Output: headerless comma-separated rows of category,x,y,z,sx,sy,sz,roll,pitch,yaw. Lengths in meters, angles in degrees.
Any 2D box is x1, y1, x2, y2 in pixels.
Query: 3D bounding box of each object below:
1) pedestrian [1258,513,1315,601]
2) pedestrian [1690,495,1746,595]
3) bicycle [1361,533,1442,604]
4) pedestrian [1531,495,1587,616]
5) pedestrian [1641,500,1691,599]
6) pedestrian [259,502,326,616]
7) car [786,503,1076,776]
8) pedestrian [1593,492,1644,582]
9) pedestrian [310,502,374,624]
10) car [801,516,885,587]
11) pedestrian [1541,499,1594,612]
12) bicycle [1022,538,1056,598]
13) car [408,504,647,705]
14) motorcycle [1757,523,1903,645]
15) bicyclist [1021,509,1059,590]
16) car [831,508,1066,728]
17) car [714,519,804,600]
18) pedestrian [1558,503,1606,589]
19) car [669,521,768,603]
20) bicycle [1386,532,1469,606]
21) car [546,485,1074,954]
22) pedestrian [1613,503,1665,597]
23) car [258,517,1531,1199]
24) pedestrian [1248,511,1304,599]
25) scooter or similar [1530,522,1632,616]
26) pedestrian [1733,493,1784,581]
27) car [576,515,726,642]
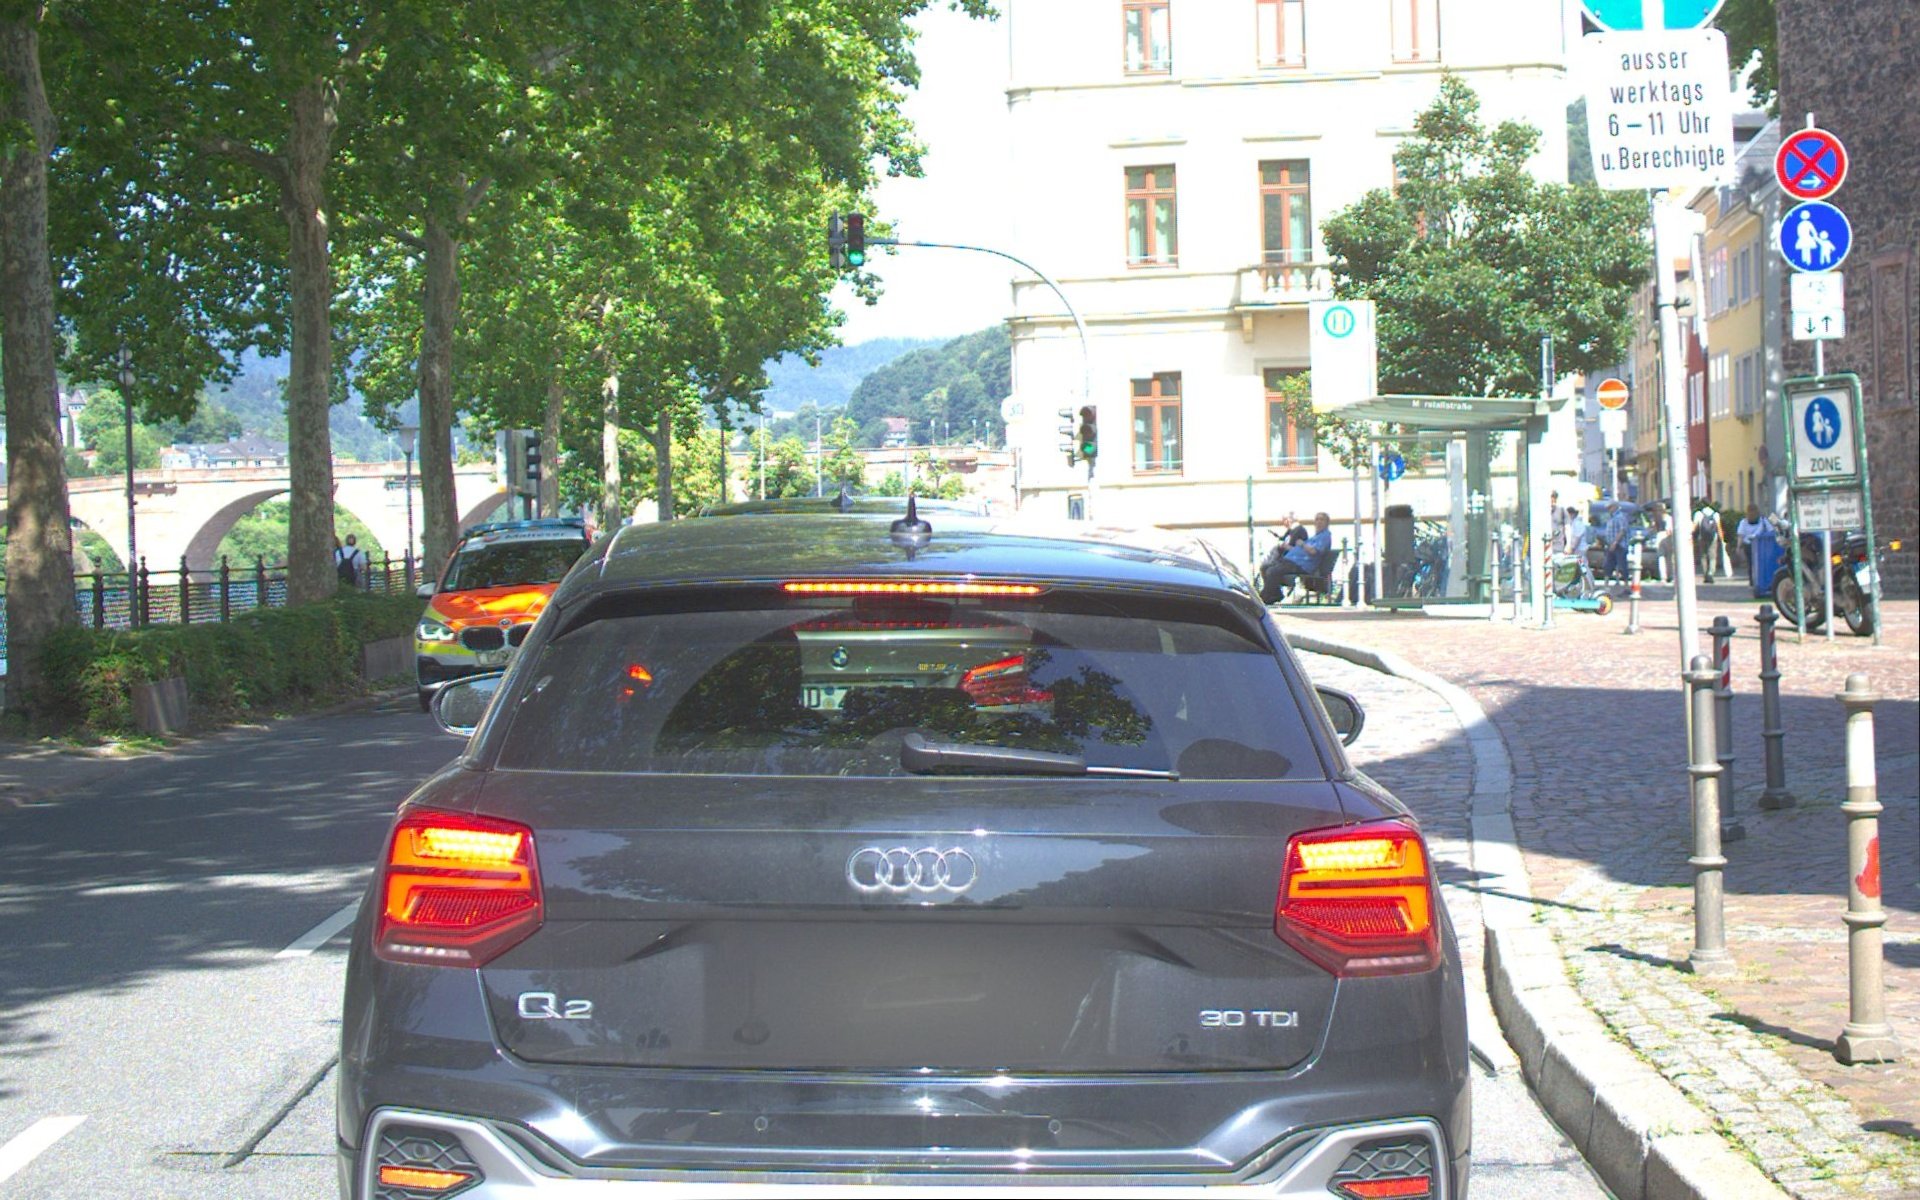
pedestrian,4.568,-0.601,48.111,0.663,1.207,0.641,1,0,-6
pedestrian,15.493,-1.119,70.304,0.940,2.007,0.807,1,0,0
bicycle,6.371,-0.451,49.559,1.184,1.012,0.179,1,0,-19
pedestrian,9.435,-0.698,54.129,0.747,1.884,0.752,1,0,2
pedestrian,14.430,-1.032,70.286,0.839,2.007,0.738,1,0,0
pedestrian,-10.654,-0.656,54.909,0.911,1.805,0.586,1,0,4
car,-0.191,0.193,22.129,1.710,1.603,3.655,0,1,-1
pedestrian,12.000,-1.151,62.686,0.776,1.616,0.645,-2,1,2
pedestrian,-10.286,-0.619,57.256,0.911,2.007,0.585,1,0,4
car,-3.068,-1.277,90.509,1.993,1.800,4.000,1,0,1
pedestrian,7.535,-0.548,42.650,0.557,1.380,0.588,1,0,2
bicycle,1.436,-0.581,62.502,0.437,1.082,1.677,1,0,-5
car,-3.975,-0.005,32.195,1.673,1.654,4.223,-4,1,-1
motorcycle,7.598,-0.164,30.119,0.566,1.009,2.490,-1,1,-2
bicyclist,1.448,-0.917,62.455,0.605,1.445,0.591,1,0,-5
car,-0.114,0.094,28.524,1.794,1.676,4.000,1,1,-1
car,-4.868,-1.018,83.824,1.813,1.719,4.422,-6,1,0
pedestrian,11.610,-1.012,64.185,0.776,1.559,0.645,-2,1,5
car,-5.101,-0.840,73.079,1.738,1.566,4.092,-4,1,0
bicycle,6.658,-0.435,48.942,1.201,1.031,0.179,1,0,-19
car,-0.536,0.376,13.519,1.793,1.589,3.399,1,1,-1
pedestrian,14.636,-1.075,74.133,0.944,2.007,0.807,1,0,0
car,-0.117,0.611,6.573,1.743,1.504,3.647,1,1,-1
pedestrian,4.483,-0.634,48.816,0.663,1.227,0.641,1,0,-6
scooter or similar,7.114,-0.354,39.382,1.088,1.062,0.323,1,0,-2
pedestrian,14.857,-1.172,63.934,0.692,1.607,0.890,-1,1,26
car,-4.360,-0.331,49.039,1.769,1.654,4.000,-3,1,-1
